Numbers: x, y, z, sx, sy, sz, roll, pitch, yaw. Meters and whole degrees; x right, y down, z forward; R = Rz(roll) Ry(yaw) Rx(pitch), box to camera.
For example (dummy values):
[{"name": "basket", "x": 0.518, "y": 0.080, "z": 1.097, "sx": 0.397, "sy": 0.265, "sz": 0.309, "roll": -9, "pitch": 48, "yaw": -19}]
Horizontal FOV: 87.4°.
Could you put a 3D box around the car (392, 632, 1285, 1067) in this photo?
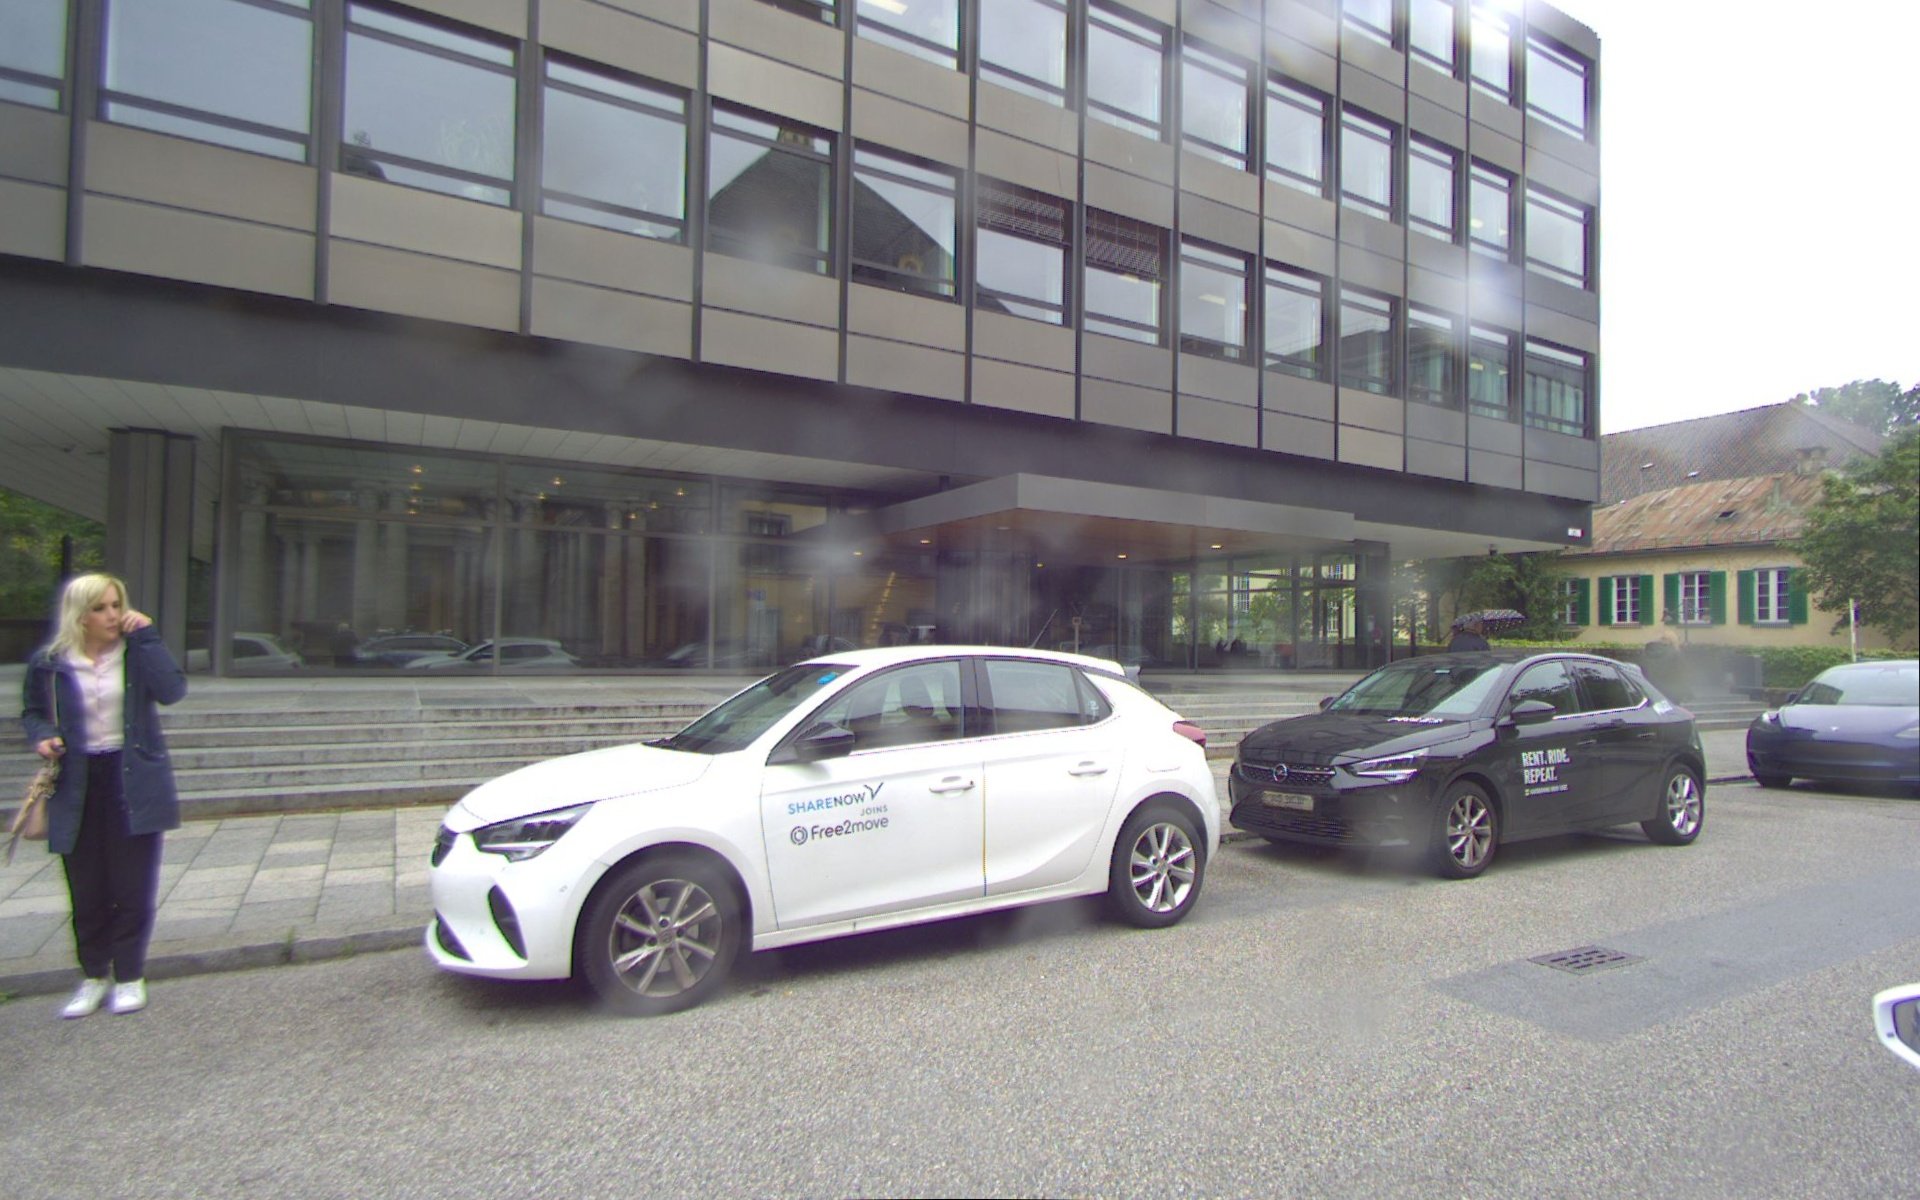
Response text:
[{"name": "car", "x": -0.473, "y": 0.971, "z": 5.199, "sx": 4.228, "sy": 1.458, "sz": 1.675, "roll": 2, "pitch": -5, "yaw": -29}]

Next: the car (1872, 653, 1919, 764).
[{"name": "car", "x": 15.420, "y": 1.524, "z": 14.409, "sx": 4.824, "sy": 1.510, "sz": 1.986, "roll": 2, "pitch": -4, "yaw": -29}]

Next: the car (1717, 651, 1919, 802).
[{"name": "car", "x": 11.009, "y": 1.366, "z": 11.646, "sx": 4.863, "sy": 1.458, "sz": 1.913, "roll": 3, "pitch": -5, "yaw": -32}]

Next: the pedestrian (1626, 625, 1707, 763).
[{"name": "pedestrian", "x": 9.536, "y": 1.240, "z": 13.552, "sx": 0.745, "sy": 1.772, "sz": 0.947, "roll": -1, "pitch": -2, "yaw": 44}]

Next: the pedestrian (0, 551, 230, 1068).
[{"name": "pedestrian", "x": -3.392, "y": 0.748, "z": 3.932, "sx": 0.681, "sy": 1.774, "sz": 0.887, "roll": 1, "pitch": -4, "yaw": -27}]

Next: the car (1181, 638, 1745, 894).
[{"name": "car", "x": 3.872, "y": 1.085, "z": 7.620, "sx": 4.184, "sy": 1.480, "sz": 1.733, "roll": 2, "pitch": -5, "yaw": -29}]

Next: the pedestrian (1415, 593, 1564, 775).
[{"name": "pedestrian", "x": 6.462, "y": 0.978, "z": 12.275, "sx": 1.207, "sy": 2.082, "sz": 1.129, "roll": 2, "pitch": -1, "yaw": -30}]
